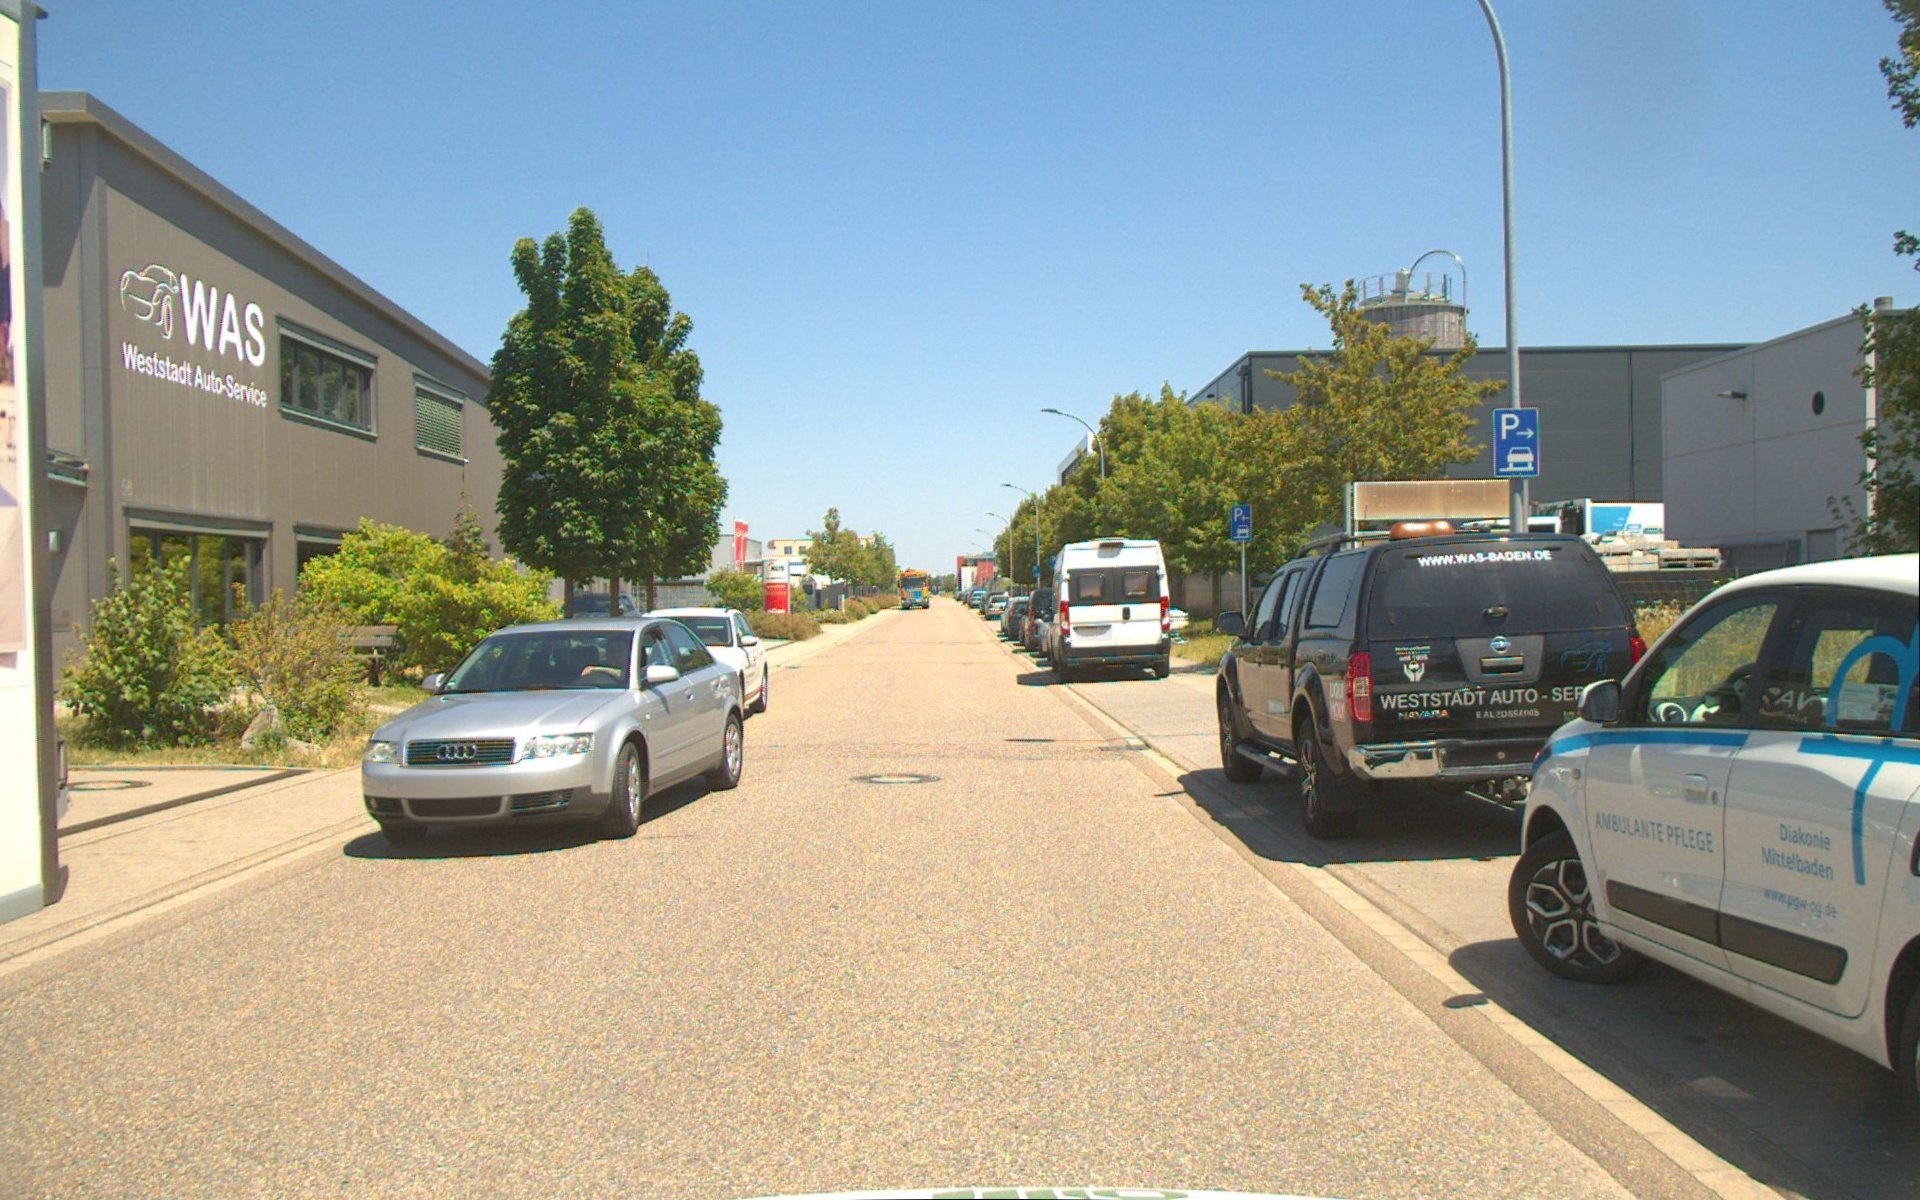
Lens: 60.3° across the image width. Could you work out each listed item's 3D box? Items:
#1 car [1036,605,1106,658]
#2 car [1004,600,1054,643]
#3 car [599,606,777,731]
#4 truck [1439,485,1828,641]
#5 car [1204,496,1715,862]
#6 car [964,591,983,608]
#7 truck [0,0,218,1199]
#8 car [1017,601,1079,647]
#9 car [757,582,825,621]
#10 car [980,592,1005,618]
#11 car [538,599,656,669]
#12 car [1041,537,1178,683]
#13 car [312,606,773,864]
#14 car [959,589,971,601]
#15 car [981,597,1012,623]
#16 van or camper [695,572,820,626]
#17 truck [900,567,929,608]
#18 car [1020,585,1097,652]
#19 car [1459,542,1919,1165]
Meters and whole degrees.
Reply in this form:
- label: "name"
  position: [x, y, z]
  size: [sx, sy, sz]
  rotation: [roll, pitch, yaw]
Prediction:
- label: "car"
  position: [2.941, 0.823, 44.449]
  size: [1.676, 1.310, 4.115]
  rotation: [-2, -1, 1]
- label: "car"
  position: [2.610, 0.782, 61.772]
  size: [1.673, 1.531, 4.708]
  rotation: [-2, 0, 4]
- label: "car"
  position: [-3.540, 0.840, 22.286]
  size: [1.694, 1.484, 4.491]
  rotation: [-1, 0, -1]
- label: "truck"
  position: [18.437, -1.021, 45.427]
  size: [9.800, 3.889, 3.029]
  rotation: [-2, 0, -11]
- label: "car"
  position: [3.115, 0.433, 11.625]
  size: [1.953, 1.917, 5.155]
  rotation: [-2, 0, 0]
- label: "car"
  position: [1.184, -0.042, 145.836]
  size: [1.553, 1.434, 3.499]
  rotation: [-1, 0, -1]
- label: "truck"
  position: [-3.059, 0.024, 0.878]
  size: [2.313, 2.909, 6.414]
  rotation: [-3, 0, 0]
- label: "car"
  position: [2.936, 0.787, 55.995]
  size: [1.813, 1.456, 4.712]
  rotation: [-2, 0, 0]
- label: "car"
  position: [-11.919, 0.073, 116.784]
  size: [4.622, 2.631, 1.998]
  rotation: [-1, 0, -5]
- label: "car"
  position: [2.266, 0.350, 116.672]
  size: [1.686, 1.724, 3.984]
  rotation: [-1, 0, 0]
- label: "car"
  position: [-10.025, 0.898, 46.062]
  size: [1.952, 1.765, 4.915]
  rotation: [0, 1, 3]
- label: "car"
  position: [2.809, 0.178, 32.513]
  size: [2.221, 2.541, 6.153]
  rotation: [-2, 0, 1]
- label: "car"
  position: [-2.798, 0.833, 12.221]
  size: [1.745, 1.447, 4.417]
  rotation: [-3, 0, 7]
- label: "car"
  position: [0.645, -0.619, 210.430]
  size: [1.465, 1.434, 3.499]
  rotation: [-1, 0, -1]
- label: "car"
  position: [2.178, 0.579, 98.615]
  size: [1.683, 1.475, 3.645]
  rotation: [-2, 0, -1]
- label: "van or camper"
  position: [-12.264, -0.057, 100.451]
  size: [7.235, 3.090, 2.789]
  rotation: [-1, 0, -2]
- label: "truck"
  position: [-4.158, -1.196, 151.873]
  size: [2.399, 3.574, 8.271]
  rotation: [-2, 1, -1]
- label: "car"
  position: [2.892, 0.551, 49.497]
  size: [1.953, 1.857, 4.353]
  rotation: [-1, 0, -1]
- label: "car"
  position: [3.175, 0.594, 5.391]
  size: [1.703, 1.557, 3.998]
  rotation: [-3, 0, -2]
